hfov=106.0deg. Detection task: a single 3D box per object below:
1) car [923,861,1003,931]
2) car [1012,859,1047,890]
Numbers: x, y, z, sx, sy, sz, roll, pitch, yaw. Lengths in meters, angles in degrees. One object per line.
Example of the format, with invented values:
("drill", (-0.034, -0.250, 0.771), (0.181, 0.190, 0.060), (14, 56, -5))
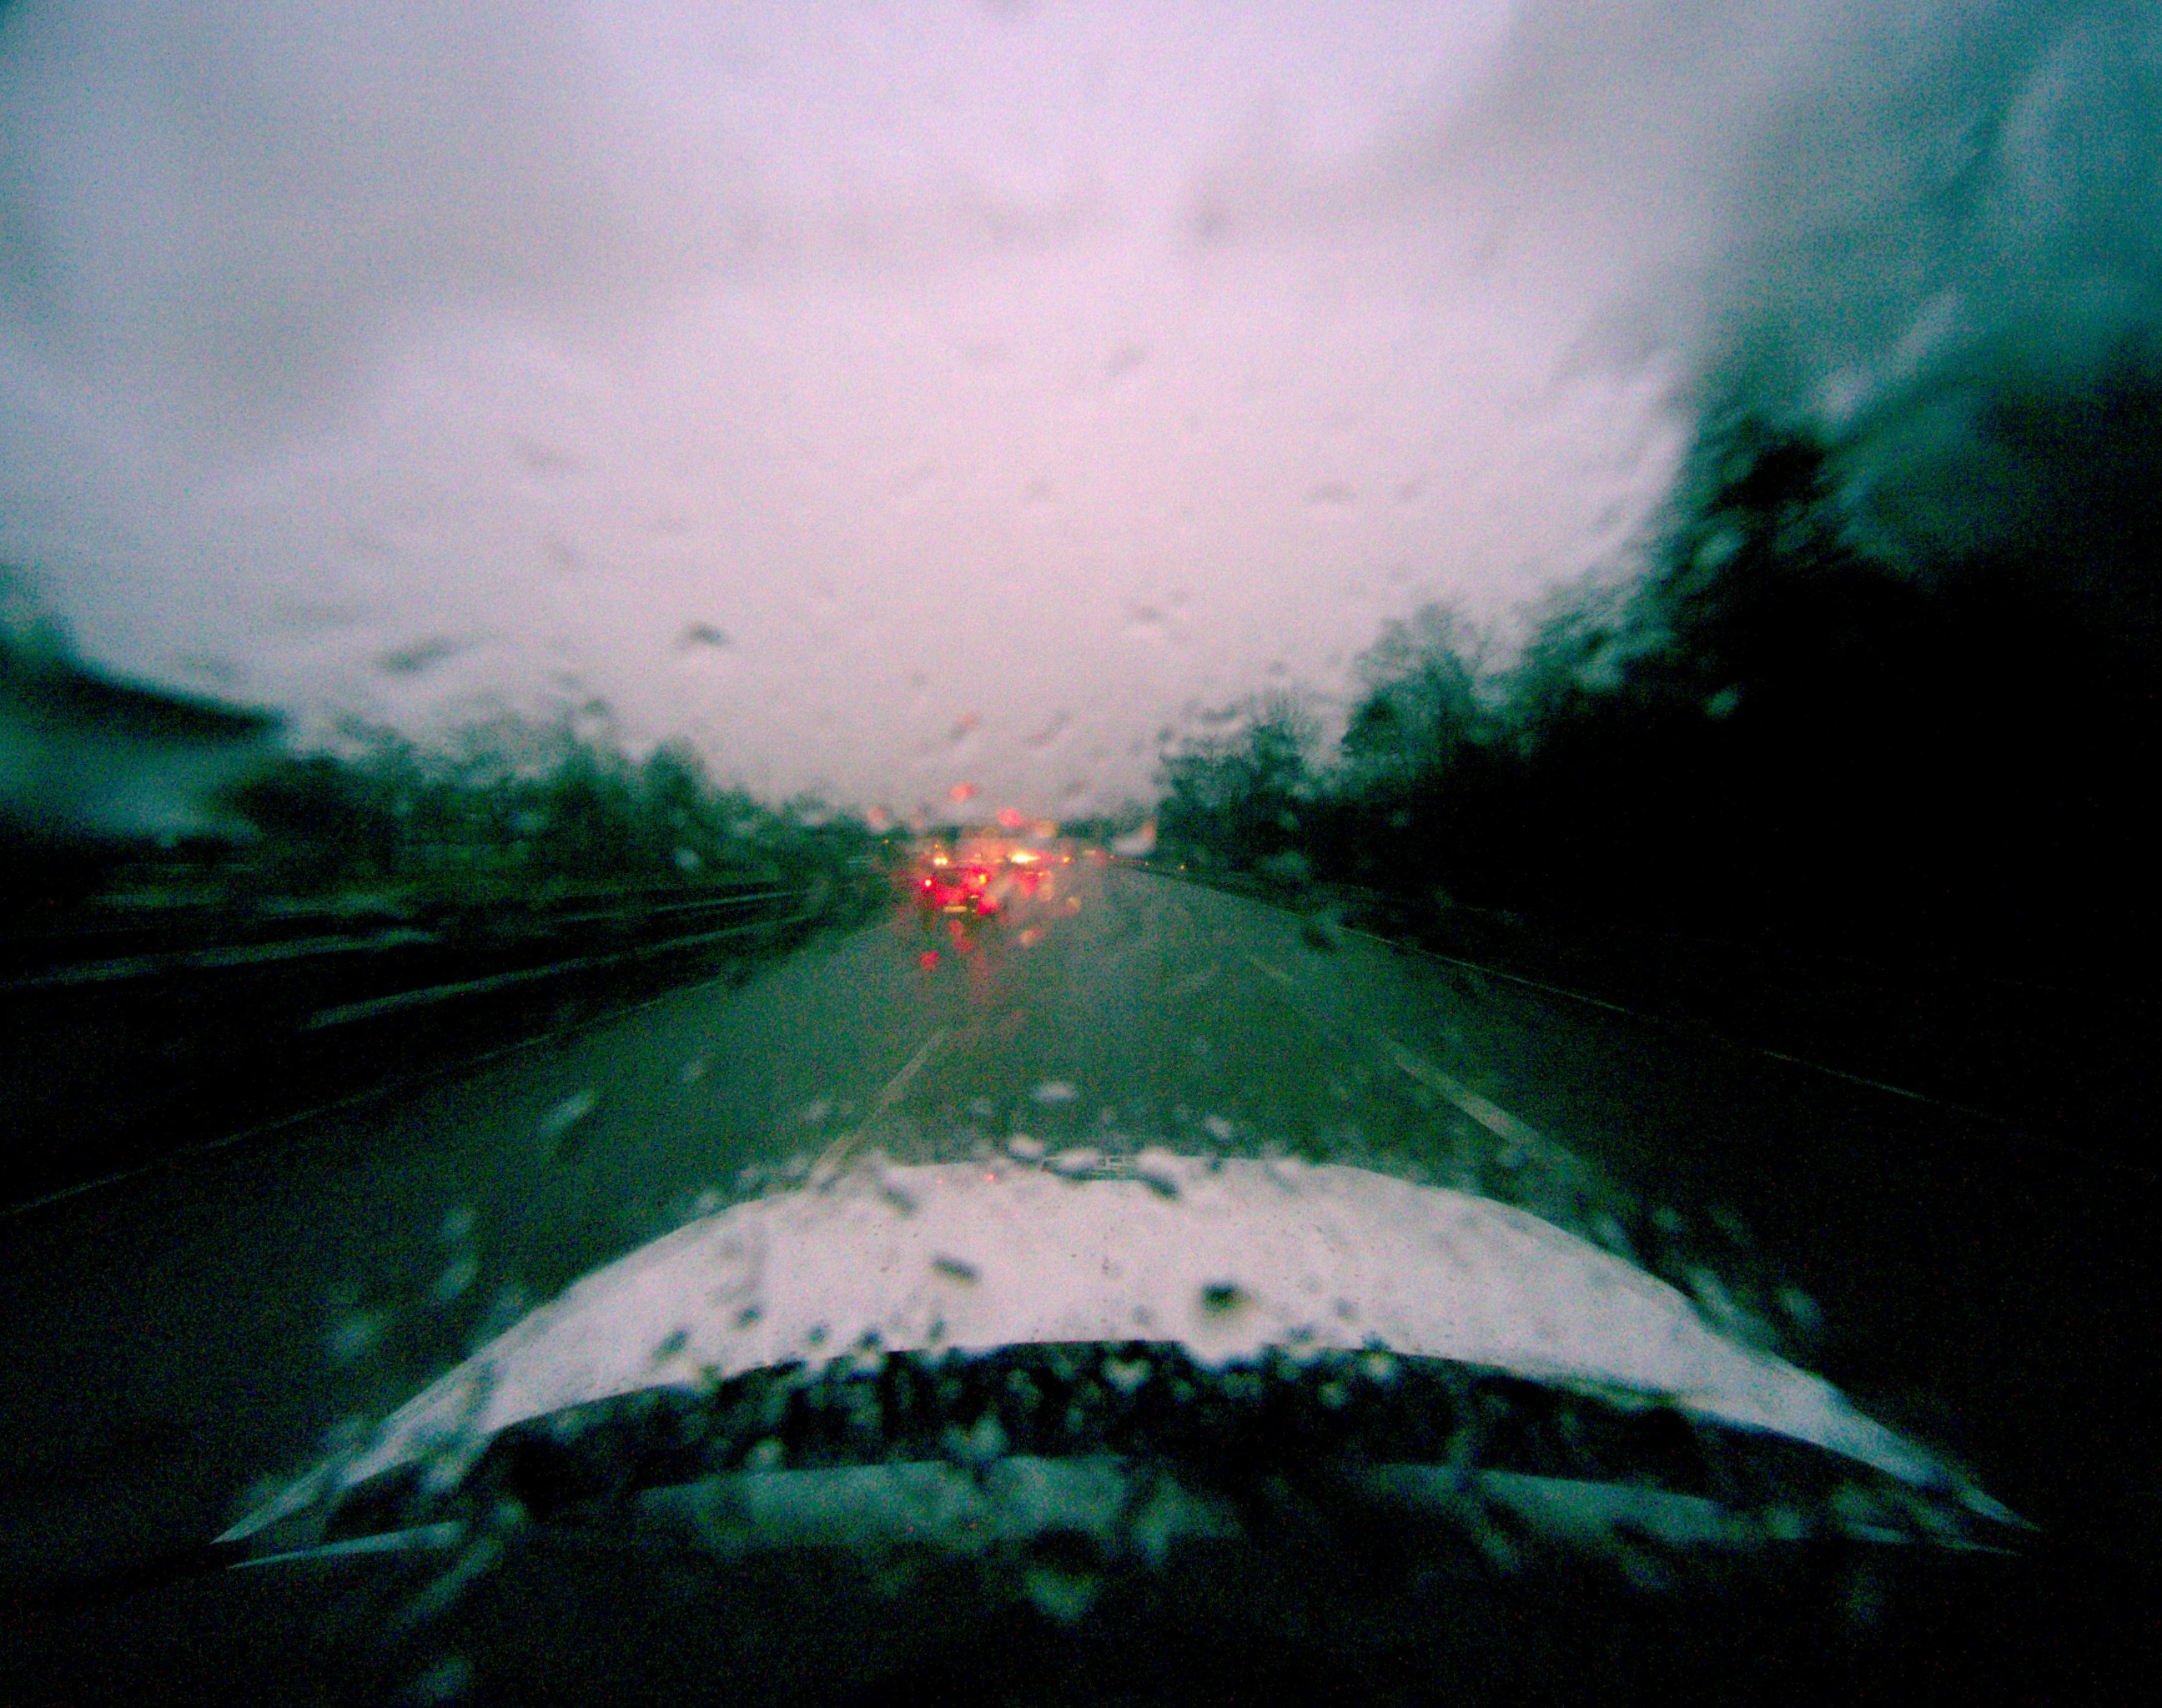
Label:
("car", (-2.725, 0.937, 19.424), (1.524, 1.415, 3.475), (2, 0, -3))
("car", (-2.754, 1.063, 44.577), (1.772, 1.534, 4.698), (-2, 0, -3))
